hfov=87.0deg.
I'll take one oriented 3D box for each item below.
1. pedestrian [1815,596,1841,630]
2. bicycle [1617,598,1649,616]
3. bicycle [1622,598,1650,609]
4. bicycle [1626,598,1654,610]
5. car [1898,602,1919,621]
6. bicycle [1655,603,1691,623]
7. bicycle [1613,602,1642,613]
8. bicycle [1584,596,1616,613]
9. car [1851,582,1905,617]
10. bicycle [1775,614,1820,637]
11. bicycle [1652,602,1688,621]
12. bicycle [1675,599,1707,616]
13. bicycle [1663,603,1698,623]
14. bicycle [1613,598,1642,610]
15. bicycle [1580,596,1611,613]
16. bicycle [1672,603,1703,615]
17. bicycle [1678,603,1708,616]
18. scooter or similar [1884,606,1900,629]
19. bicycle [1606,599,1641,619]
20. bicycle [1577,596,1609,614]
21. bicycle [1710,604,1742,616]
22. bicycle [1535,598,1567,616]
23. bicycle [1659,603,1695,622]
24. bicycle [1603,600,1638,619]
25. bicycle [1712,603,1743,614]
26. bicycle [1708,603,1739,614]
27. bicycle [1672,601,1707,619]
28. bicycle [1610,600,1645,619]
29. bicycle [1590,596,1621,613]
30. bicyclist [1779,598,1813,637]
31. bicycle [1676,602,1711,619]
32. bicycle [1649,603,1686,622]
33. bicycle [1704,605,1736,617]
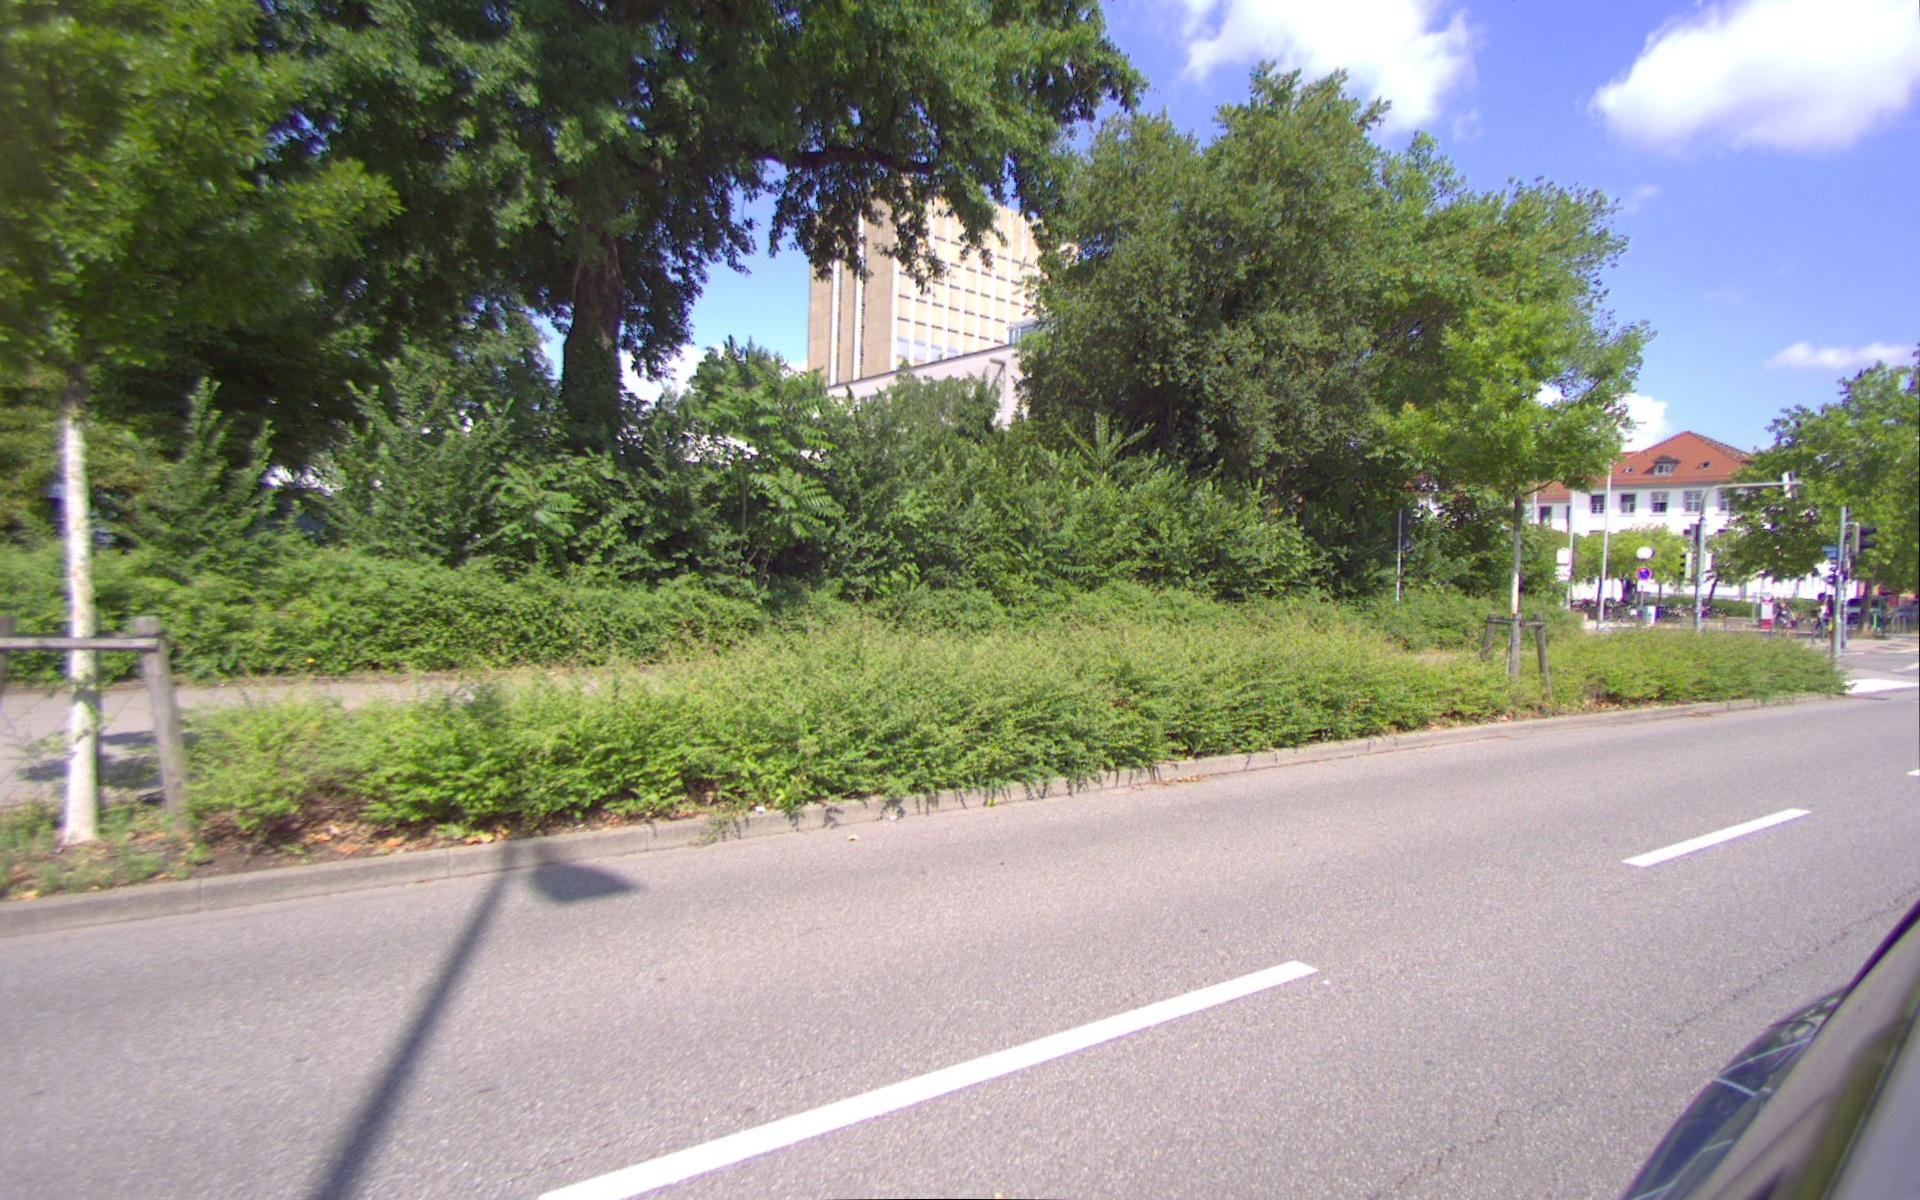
[{"bbox_3d":[44.221,0.642,51.552,0.626,1.670,0.744,2,1,-17],"label":"pedestrian"},{"bbox_3d":[44.547,0.473,66.991,0.616,1.110,1.670,1,2,-42],"label":"bicycle"},{"bbox_3d":[51.407,0.261,76.986,0.616,0.800,1.670,1,2,-42],"label":"bicycle"},{"bbox_3d":[52.131,0.321,77.636,0.616,0.800,1.670,1,2,-42],"label":"bicycle"},{"bbox_3d":[75.561,0.957,78.567,3.989,1.442,1.729,3,2,45],"label":"car"},{"bbox_3d":[43.516,0.769,61.789,0.616,1.110,1.670,1,2,-42],"label":"bicycle"},{"bbox_3d":[49.657,0.558,75.268,0.616,0.800,1.670,1,2,-42],"label":"bicycle"},{"bbox_3d":[43.708,0.315,69.120,0.616,1.110,1.670,1,2,-42],"label":"bicycle"},{"bbox_3d":[58.278,-0.018,64.217,4.817,2.038,1.997,1,2,-42],"label":"car"},{"bbox_3d":[34.100,1.029,41.225,0.609,0.843,1.513,2,1,4],"label":"bicycle"},{"bbox_3d":[42.998,0.692,61.297,0.616,1.110,1.670,1,2,-42],"label":"bicycle"},{"bbox_3d":[51.061,0.503,70.676,0.616,1.110,1.670,1,2,-42],"label":"bicycle"},{"bbox_3d":[44.798,0.800,62.932,0.616,1.110,1.670,1,2,-42],"label":"bicycle"},{"bbox_3d":[50.049,0.320,75.880,0.616,0.800,1.670,1,2,-42],"label":"bicycle"},{"bbox_3d":[43.099,0.302,68.630,0.616,1.110,1.670,1,2,-42],"label":"bicycle"},{"bbox_3d":[51.717,0.654,71.926,0.616,0.800,1.669,1,2,-44],"label":"bicycle"},{"bbox_3d":[52.412,0.664,72.356,0.616,0.800,1.669,1,2,-44],"label":"bicycle"},{"bbox_3d":[47.545,0.888,51.636,1.146,1.142,0.348,1,1,-37],"label":"scooter or similar"},{"bbox_3d":[40.709,0.560,62.069,0.616,1.110,1.670,1,2,-42],"label":"bicycle"},{"bbox_3d":[42.519,0.350,68.014,0.616,1.110,1.670,1,2,-42],"label":"bicycle"},{"bbox_3d":[53.675,0.708,70.940,0.616,0.743,1.670,1,2,-42],"label":"bicycle"},{"bbox_3d":[38.504,0.436,65.961,0.616,1.110,1.670,1,2,-42],"label":"bicycle"},{"bbox_3d":[44.235,0.758,62.446,0.616,1.110,1.670,1,2,-42],"label":"bicycle"},{"bbox_3d":[40.205,0.563,61.637,0.616,1.110,1.670,1,2,-42],"label":"bicycle"},{"bbox_3d":[54.969,0.621,72.535,0.616,0.743,1.670,1,2,-42],"label":"bicycle"},{"bbox_3d":[54.342,0.612,71.999,0.616,0.743,1.670,1,2,-42],"label":"bicycle"},{"bbox_3d":[45.888,0.635,63.654,0.616,1.048,1.670,1,2,-42],"label":"bicycle"},{"bbox_3d":[41.248,0.565,62.561,0.616,1.110,1.670,1,2,-42],"label":"bicycle"},{"bbox_3d":[44.454,0.329,69.720,0.616,1.110,1.670,1,2,-42],"label":"bicycle"},{"bbox_3d":[34.124,0.695,41.298,0.601,1.526,0.918,2,1,5],"label":"bicyclist"},{"bbox_3d":[46.468,0.669,64.148,0.616,0.997,1.670,1,2,-42],"label":"bicycle"},{"bbox_3d":[42.526,0.746,60.839,0.616,1.110,1.670,1,2,-42],"label":"bicycle"},{"bbox_3d":[53.015,0.761,70.618,0.616,0.743,1.670,1,2,-42],"label":"bicycle"}]
